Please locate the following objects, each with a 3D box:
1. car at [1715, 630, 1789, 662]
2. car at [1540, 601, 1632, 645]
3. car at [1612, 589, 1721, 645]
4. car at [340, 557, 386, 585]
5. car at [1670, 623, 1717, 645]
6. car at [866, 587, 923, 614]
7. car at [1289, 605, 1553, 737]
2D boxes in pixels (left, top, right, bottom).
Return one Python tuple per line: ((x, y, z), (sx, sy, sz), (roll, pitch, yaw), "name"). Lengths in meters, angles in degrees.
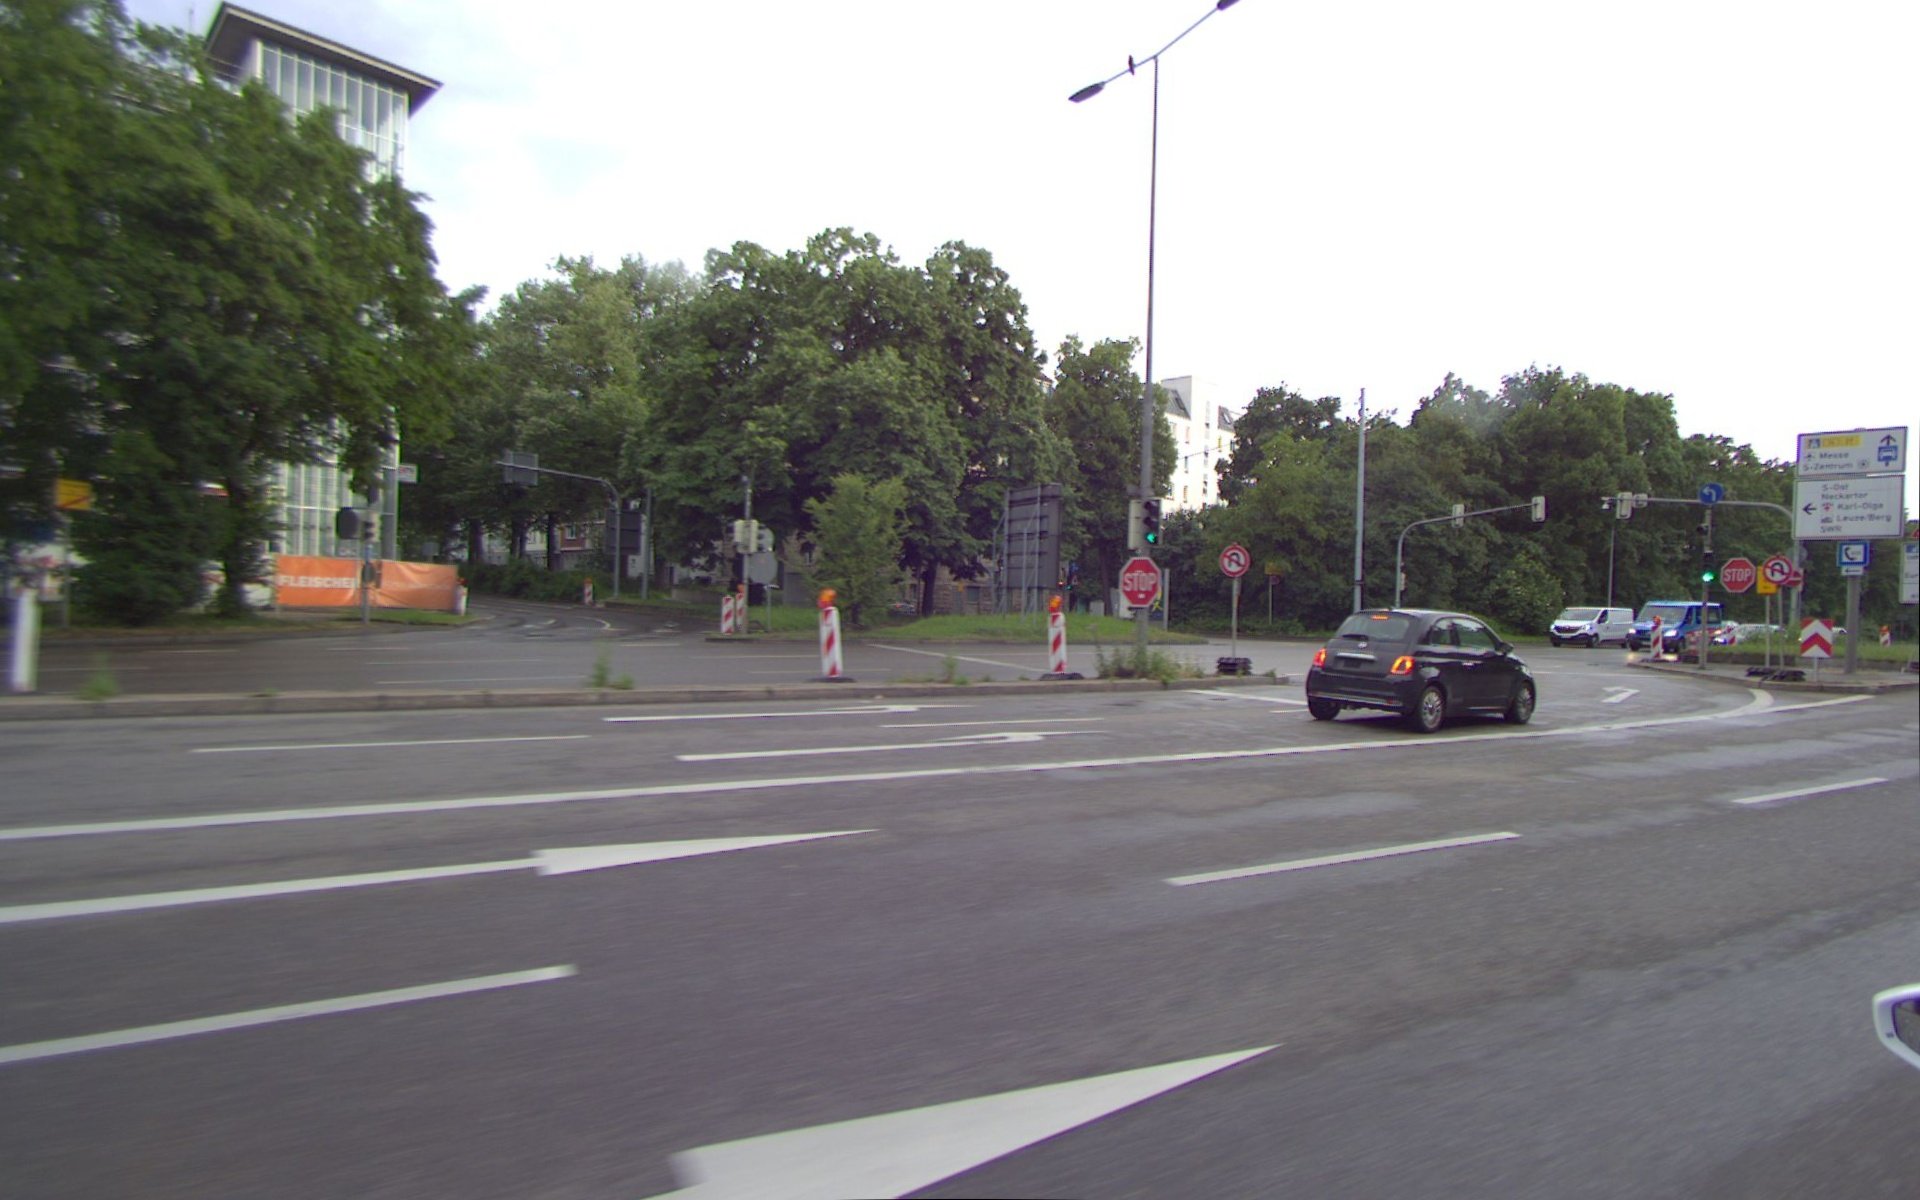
((34.049, 1.959, 43.153), (4.607, 1.216, 1.536), (2, 0, -40), "car")
((30.283, 1.084, 48.541), (4.941, 2.001, 2.020), (1, 1, -36), "car")
((32.524, 0.753, 46.168), (6.183, 2.423, 2.180), (1, 1, -36), "car")
((-37.826, -1.846, 63.599), (1.796, 1.648, 3.950), (1, 2, -42), "car")
((40.098, 1.832, 54.882), (2.765, 1.100, 1.261), (1, 1, -36), "car")
((-4.312, 0.033, 65.575), (3.456, 1.680, 1.866), (2, 0, 45), "car")
((6.095, 0.824, 13.197), (3.468, 1.460, 1.576), (0, 2, -34), "car")
